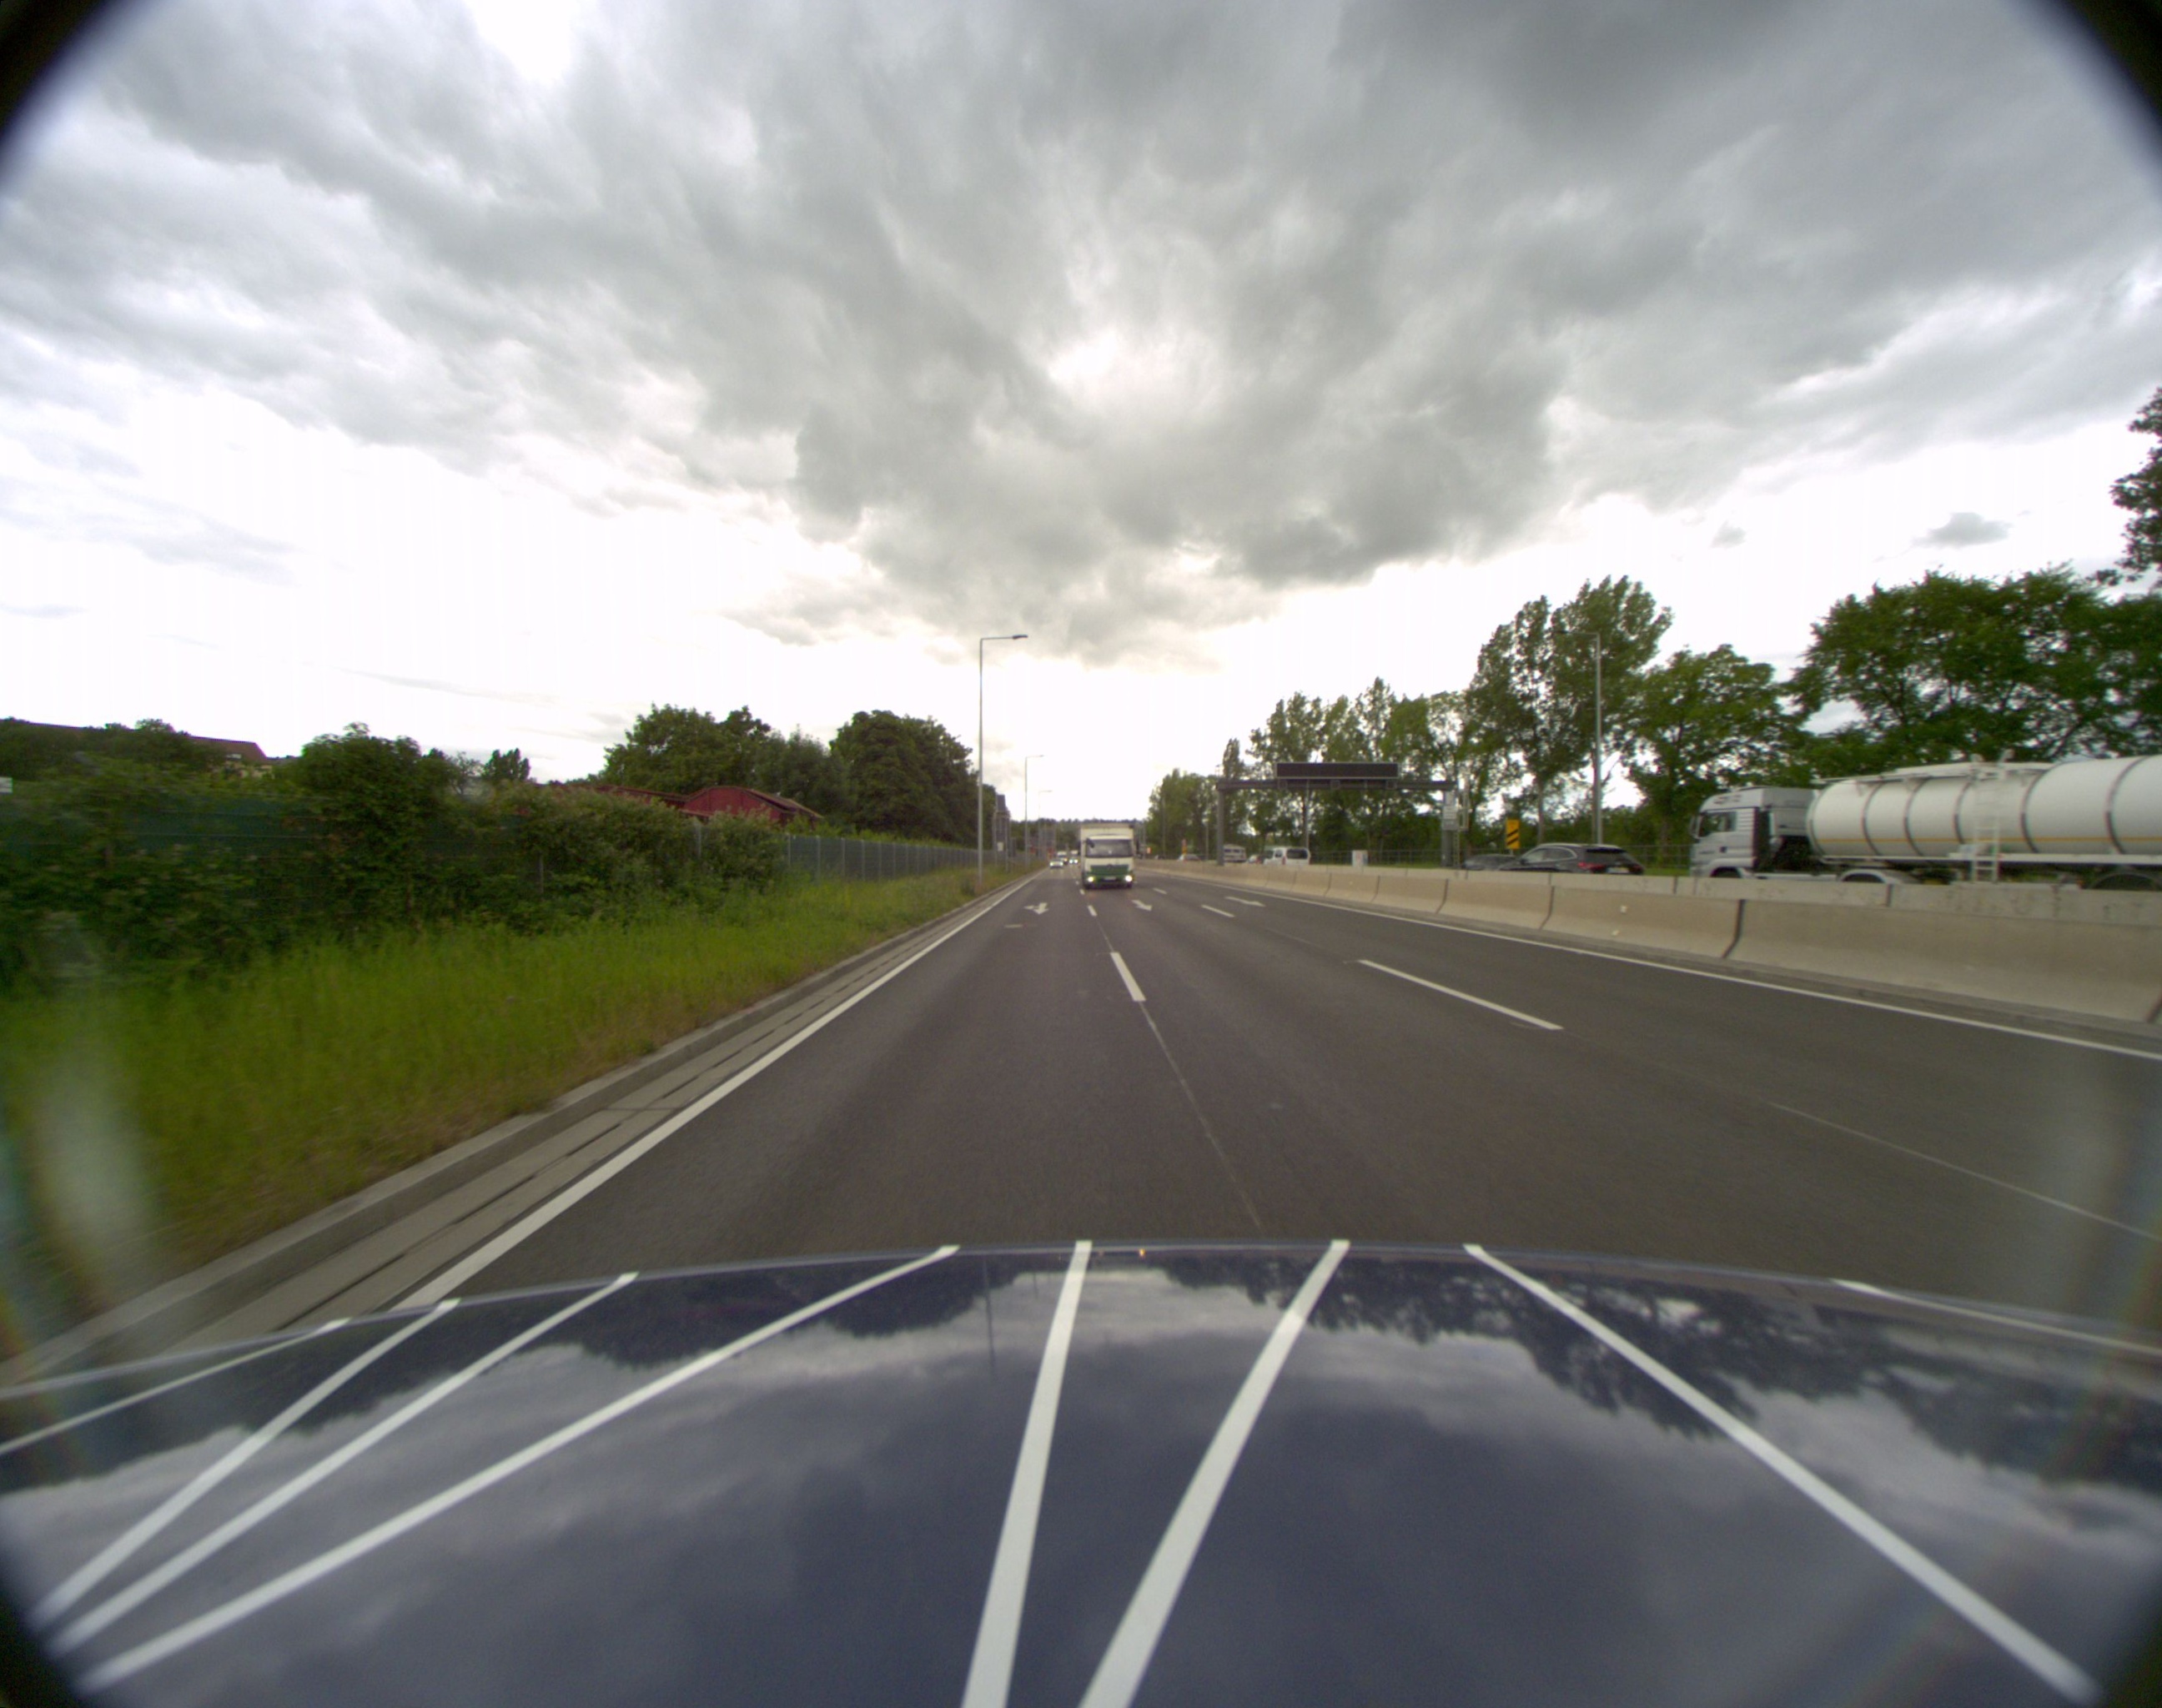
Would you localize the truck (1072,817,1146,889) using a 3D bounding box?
[{"bbox_3d":[1.180,-0.022,37.551,2.943,3.064,8.385,-2,0,-2],"label":"truck"}]

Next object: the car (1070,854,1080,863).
[{"bbox_3d":[-1.385,1.009,174.568,1.999,2.002,4.000,-3,0,-1],"label":"car"}]

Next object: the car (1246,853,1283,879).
[{"bbox_3d":[15.074,0.960,62.615,1.999,2.002,3.999,-3,0,-1],"label":"car"}]

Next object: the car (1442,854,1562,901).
[{"bbox_3d":[16.170,0.840,29.522,1.999,1.608,4.696,-3,0,-1],"label":"car"}]

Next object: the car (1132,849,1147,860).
[{"bbox_3d":[9.254,0.093,120.888,1.931,1.608,4.455,-3,0,-1],"label":"car"}]

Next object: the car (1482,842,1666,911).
[{"bbox_3d":[13.424,0.555,21.121,1.999,1.608,4.696,-3,0,-1],"label":"car"}]

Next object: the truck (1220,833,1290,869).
[{"bbox_3d":[17.263,-0.254,76.918,2.862,3.089,15.882,-3,0,-2],"label":"truck"}]

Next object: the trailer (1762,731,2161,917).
[{"bbox_3d":[20.154,-0.573,14.674,3.109,3.201,11.666,-3,0,-2],"label":"trailer"}]

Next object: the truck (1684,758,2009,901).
[{"bbox_3d":[19.946,-0.562,20.361,3.106,3.200,5.390,-3,0,-2],"label":"truck"}]

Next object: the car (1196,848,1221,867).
[{"bbox_3d":[13.886,0.393,82.778,1.821,1.866,4.100,-3,0,-2],"label":"car"}]

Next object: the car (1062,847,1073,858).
[{"bbox_3d":[-2.685,-0.278,148.032,1.999,2.002,3.999,-3,0,-1],"label":"car"}]

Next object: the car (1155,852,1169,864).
[{"bbox_3d":[14.571,0.749,136.713,1.998,2.002,4.000,-3,0,1],"label":"car"}]

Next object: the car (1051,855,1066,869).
[{"bbox_3d":[-3.106,1.076,104.884,1.999,1.849,3.999,-3,0,-1],"label":"car"}]

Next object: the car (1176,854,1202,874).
[{"bbox_3d":[10.703,0.955,75.733,1.821,1.892,3.999,-3,0,-2],"label":"car"}]

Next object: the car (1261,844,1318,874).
[{"bbox_3d":[12.405,0.268,45.462,1.999,1.608,4.696,-3,0,-1],"label":"car"}]
